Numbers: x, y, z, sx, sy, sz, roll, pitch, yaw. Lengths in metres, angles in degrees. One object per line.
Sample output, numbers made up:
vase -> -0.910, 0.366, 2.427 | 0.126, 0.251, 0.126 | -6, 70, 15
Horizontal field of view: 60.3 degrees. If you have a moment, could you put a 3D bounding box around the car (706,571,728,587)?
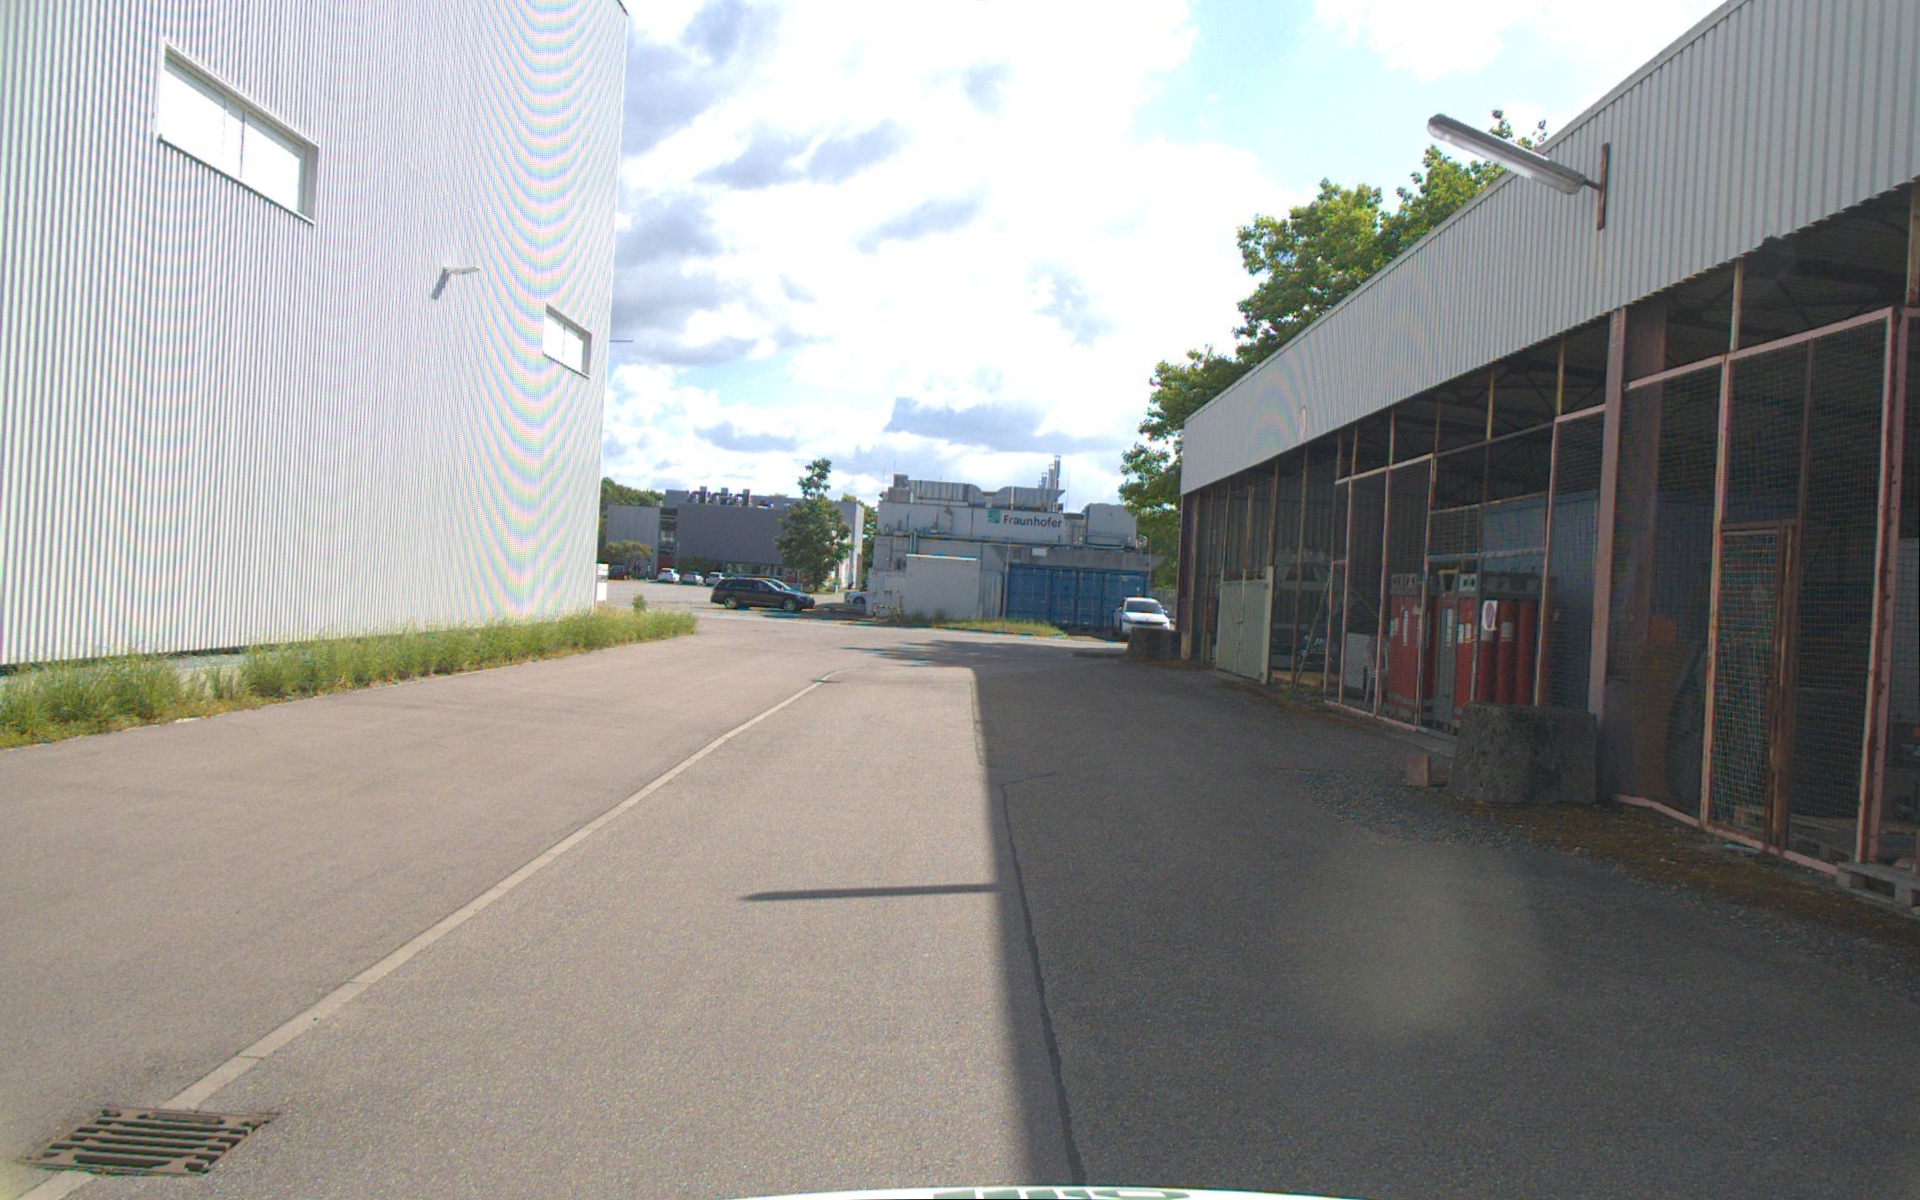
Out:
car -> -25.587, -2.239, 174.048 | 1.840, 1.564, 4.034 | 2, 0, -2

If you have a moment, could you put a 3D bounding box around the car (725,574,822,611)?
car -> -9.051, -0.351, 80.419 | 4.437, 1.468, 1.904 | 3, -1, 0

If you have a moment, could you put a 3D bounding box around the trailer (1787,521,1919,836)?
trailer -> 7.427, 0.563, 11.372 | 1.545, 2.180, 3.519 | 2, 0, -3

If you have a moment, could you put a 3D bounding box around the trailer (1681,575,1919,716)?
trailer -> 14.535, 0.746, 28.243 | 3.334, 2.175, 2.465 | 3, 0, 2

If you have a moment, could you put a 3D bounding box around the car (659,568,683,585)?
car -> -30.378, -2.462, 173.938 | 1.840, 1.719, 4.034 | 2, 0, -2

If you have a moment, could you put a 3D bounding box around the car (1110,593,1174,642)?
car -> 7.080, 0.661, 64.695 | 1.941, 1.620, 4.340 | 4, 1, 0

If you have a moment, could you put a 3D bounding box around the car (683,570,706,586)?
car -> -27.866, -2.308, 173.807 | 1.840, 1.564, 4.034 | 2, 0, -2

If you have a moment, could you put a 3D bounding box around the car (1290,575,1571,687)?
car -> 9.667, 0.621, 34.251 | 5.065, 1.951, 2.276 | 3, 0, -6

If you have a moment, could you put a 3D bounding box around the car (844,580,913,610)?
car -> -5.126, -0.307, 104.939 | 4.192, 1.596, 1.987 | 3, -1, 0

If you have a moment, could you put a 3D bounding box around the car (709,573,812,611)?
car -> -9.276, -0.343, 77.158 | 4.437, 1.468, 1.987 | 3, -1, 0

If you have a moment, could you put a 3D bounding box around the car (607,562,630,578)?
car -> -35.817, -3.109, 173.647 | 1.841, 1.564, 4.031 | 2, 0, -5
